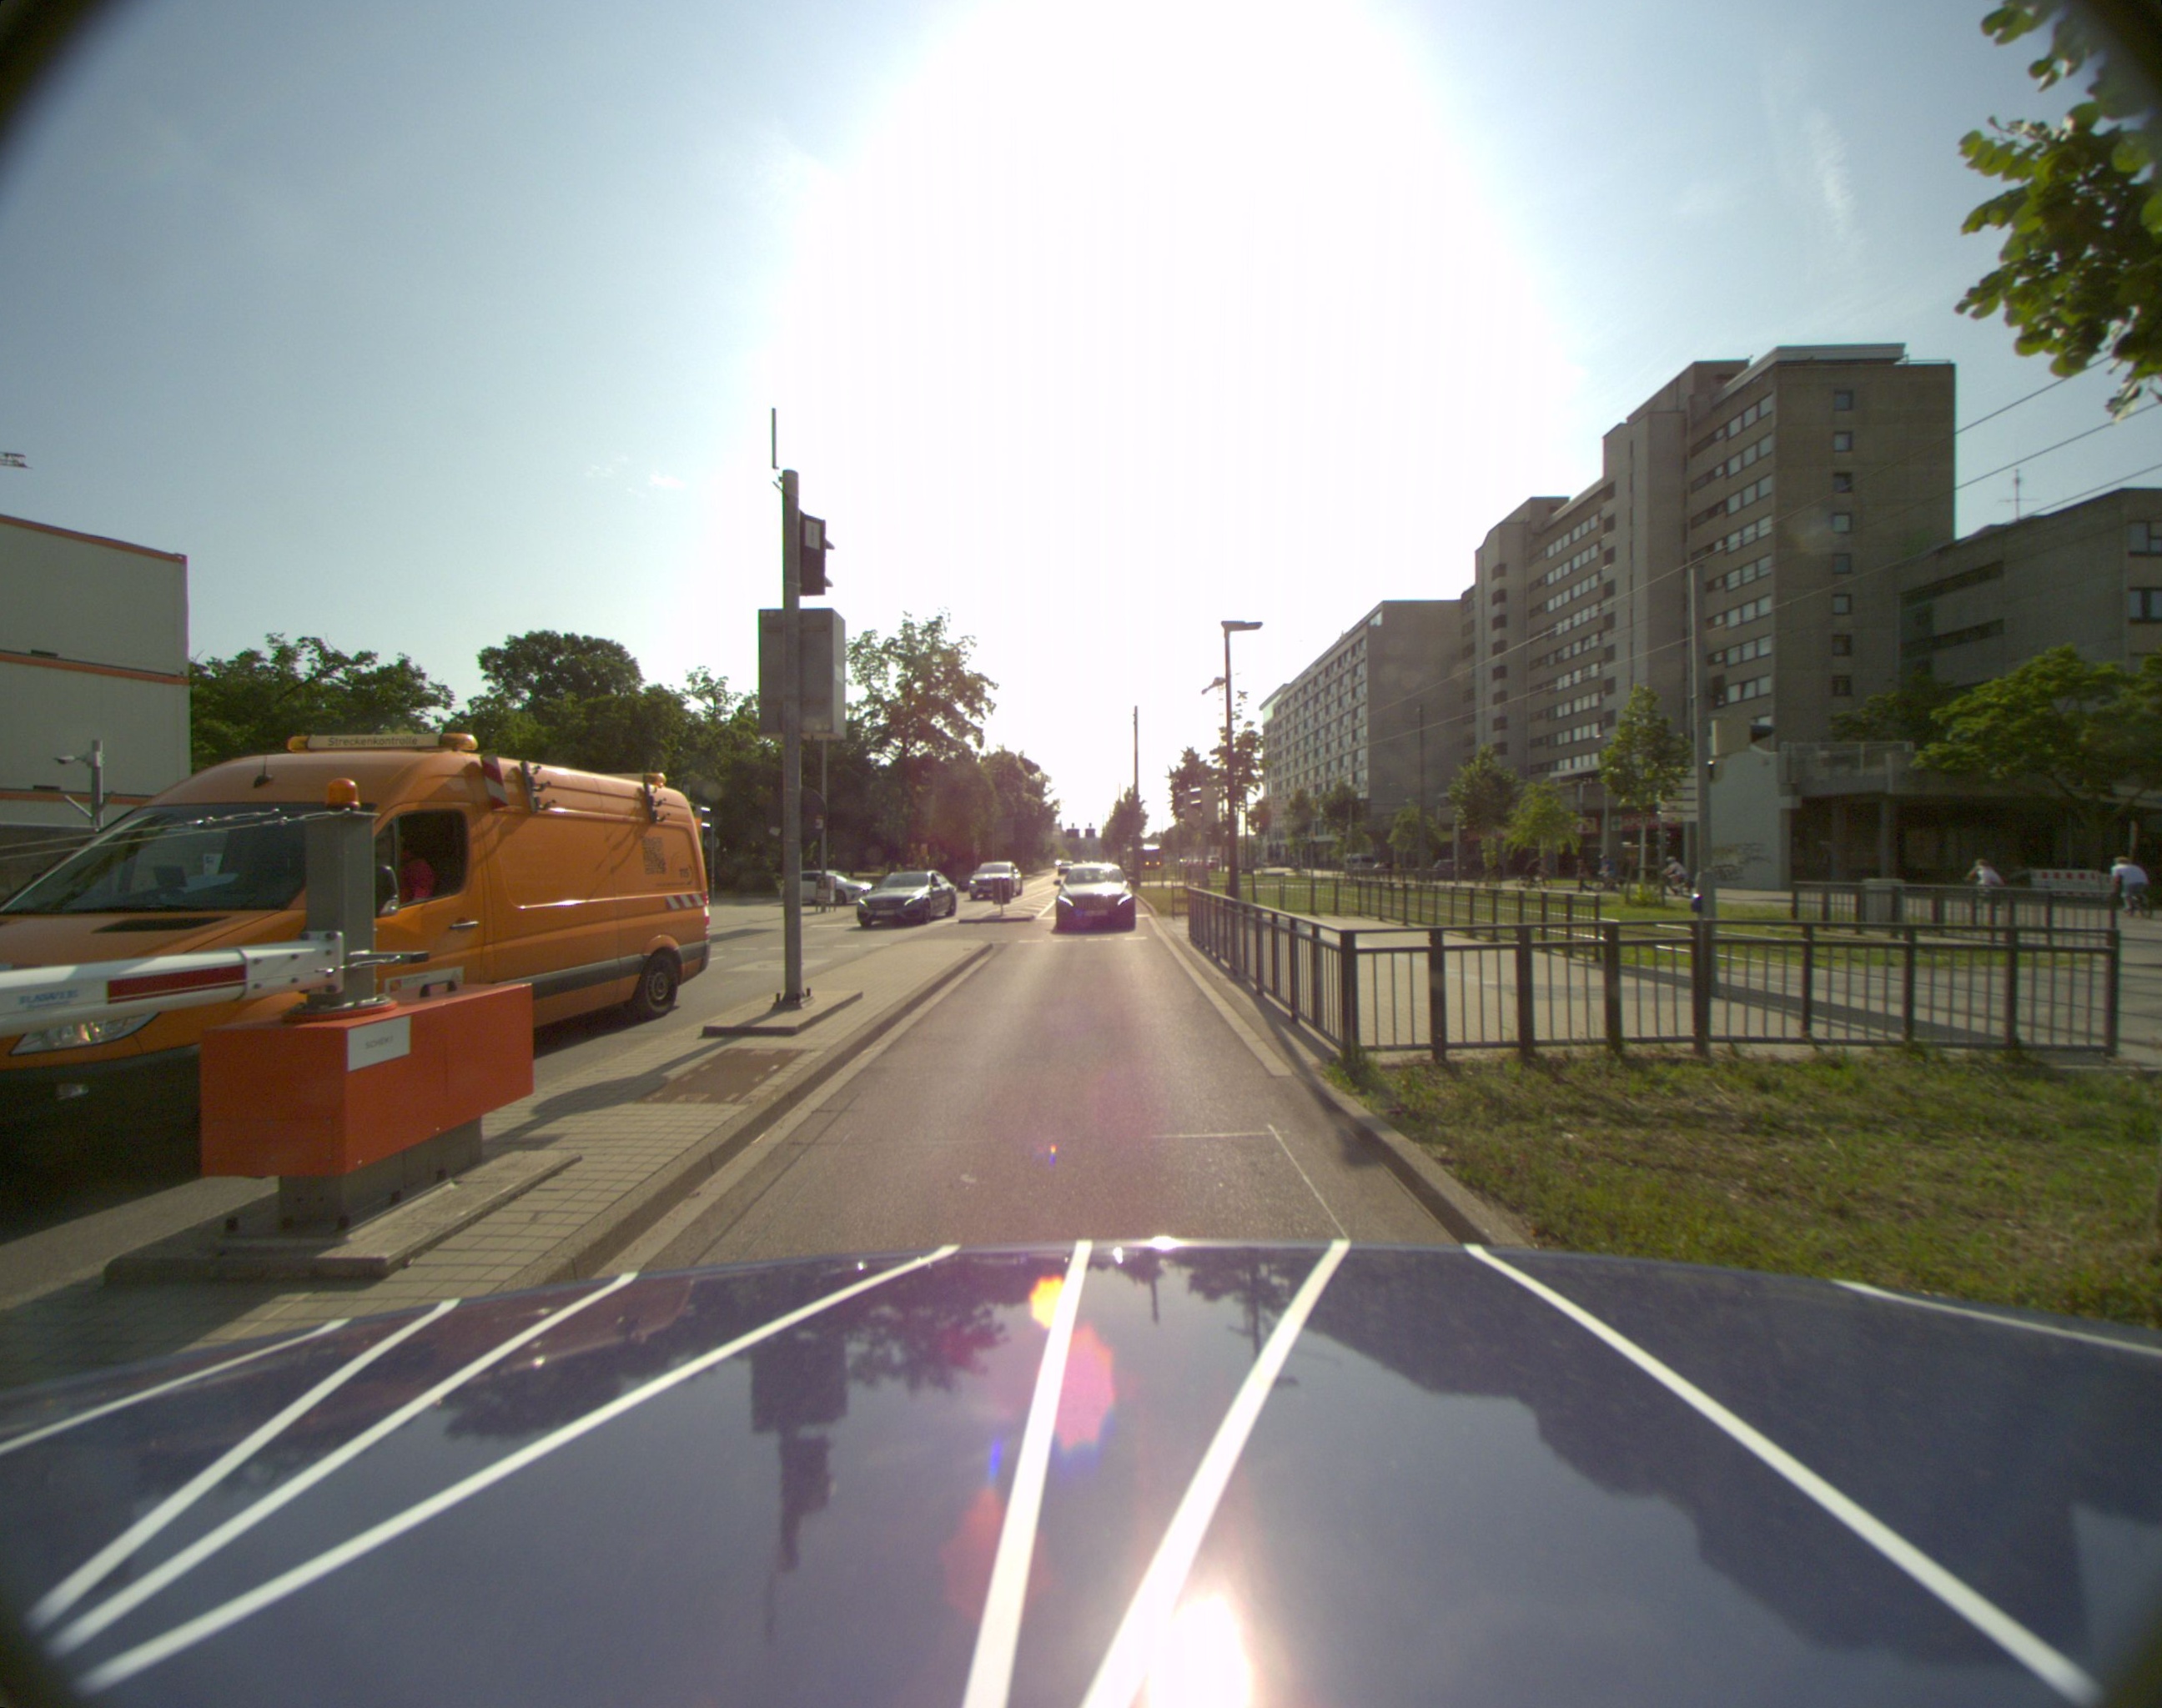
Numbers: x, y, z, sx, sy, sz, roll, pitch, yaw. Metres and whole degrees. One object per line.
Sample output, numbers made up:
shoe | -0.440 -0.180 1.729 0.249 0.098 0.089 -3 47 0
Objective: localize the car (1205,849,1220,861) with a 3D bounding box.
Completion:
car | 25.598 0.186 148.286 2.051 2.225 5.334 -1 0 0

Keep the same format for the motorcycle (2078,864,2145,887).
motorcycle | 48.114 1.006 35.507 0.494 1.011 1.946 0 0 1

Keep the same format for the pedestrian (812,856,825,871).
pedestrian | -30.943 1.131 89.648 0.983 1.820 1.072 0 1 31

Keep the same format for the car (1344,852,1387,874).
car | 30.754 0.930 81.986 5.419 2.295 1.880 0 0 -39

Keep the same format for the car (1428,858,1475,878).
car | 30.228 1.115 62.010 4.119 1.597 1.874 0 0 -39

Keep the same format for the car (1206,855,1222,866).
car | 18.984 0.906 108.684 1.811 1.472 4.001 0 0 3

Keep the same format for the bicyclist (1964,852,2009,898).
bicyclist | 30.276 0.685 25.422 0.619 1.491 0.988 0 0 26

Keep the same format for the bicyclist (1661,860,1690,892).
bicyclist | 26.281 0.958 33.603 0.911 1.377 0.705 0 -1 29

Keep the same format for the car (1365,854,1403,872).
car | 30.057 0.887 75.361 2.097 1.573 4.008 -3 -1 44

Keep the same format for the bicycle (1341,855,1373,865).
bicycle | 38.606 0.797 106.263 3.994 1.358 1.127 0 0 10

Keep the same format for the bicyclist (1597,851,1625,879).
bicyclist | 27.558 0.591 39.515 1.024 1.432 0.685 0 0 -2

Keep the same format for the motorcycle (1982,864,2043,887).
motorcycle | 43.771 0.986 35.741 0.494 1.011 1.946 0 0 1

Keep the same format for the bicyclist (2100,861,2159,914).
bicyclist | 29.632 0.948 21.478 0.686 1.432 0.807 -2 1 29

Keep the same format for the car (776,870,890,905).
car | -10.672 1.403 32.741 4.273 1.398 2.003 -1 0 19

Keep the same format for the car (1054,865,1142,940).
car | 0.413 1.031 17.774 1.759 1.437 4.618 -1 0 1

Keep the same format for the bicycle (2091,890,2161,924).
bicycle | 29.638 1.481 21.461 0.719 0.793 1.606 -2 1 29

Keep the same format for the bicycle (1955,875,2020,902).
bicycle | 30.296 1.138 25.438 0.627 0.789 2.006 0 0 26

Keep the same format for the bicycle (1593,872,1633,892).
bicycle | 27.675 1.456 39.530 1.666 0.985 0.685 0 0 -2

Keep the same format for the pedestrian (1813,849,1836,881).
pedestrian | 41.236 0.601 42.120 0.699 1.766 0.625 0 0 -12

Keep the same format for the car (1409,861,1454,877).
car | 30.251 1.305 65.592 4.119 1.237 1.874 -2 0 -39

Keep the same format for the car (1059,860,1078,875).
car | -1.385 1.497 84.995 1.904 1.584 4.000 0 0 1

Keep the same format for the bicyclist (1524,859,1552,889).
bicyclist | 21.988 0.943 36.596 0.972 1.387 0.546 3 0 6

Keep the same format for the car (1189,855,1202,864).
car | 19.403 0.933 128.679 1.811 1.565 4.001 0 0 3

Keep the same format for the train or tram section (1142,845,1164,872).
train or tram section | 9.426 0.525 99.724 2.500 3.409 6.670 0 0 2

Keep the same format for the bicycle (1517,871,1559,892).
bicycle | 21.987 1.327 36.596 1.611 0.929 0.558 2 -1 6

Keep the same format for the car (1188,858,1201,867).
car | 20.055 1.453 134.561 1.811 1.466 4.001 0 0 3

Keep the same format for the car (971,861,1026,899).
car | -3.687 1.130 34.609 1.897 1.561 4.250 -2 0 1

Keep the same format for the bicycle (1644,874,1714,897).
bicycle | 26.356 1.377 33.539 2.340 0.993 0.709 0 0 30

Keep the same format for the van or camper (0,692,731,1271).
van or camper | -5.440 0.593 6.278 1.990 2.457 6.062 -2 0 2

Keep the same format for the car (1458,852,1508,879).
car | 31.002 0.860 58.541 4.119 1.957 1.874 0 0 -39

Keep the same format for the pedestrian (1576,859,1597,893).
pedestrian | 25.387 1.089 38.175 0.660 1.680 0.646 0 0 4
